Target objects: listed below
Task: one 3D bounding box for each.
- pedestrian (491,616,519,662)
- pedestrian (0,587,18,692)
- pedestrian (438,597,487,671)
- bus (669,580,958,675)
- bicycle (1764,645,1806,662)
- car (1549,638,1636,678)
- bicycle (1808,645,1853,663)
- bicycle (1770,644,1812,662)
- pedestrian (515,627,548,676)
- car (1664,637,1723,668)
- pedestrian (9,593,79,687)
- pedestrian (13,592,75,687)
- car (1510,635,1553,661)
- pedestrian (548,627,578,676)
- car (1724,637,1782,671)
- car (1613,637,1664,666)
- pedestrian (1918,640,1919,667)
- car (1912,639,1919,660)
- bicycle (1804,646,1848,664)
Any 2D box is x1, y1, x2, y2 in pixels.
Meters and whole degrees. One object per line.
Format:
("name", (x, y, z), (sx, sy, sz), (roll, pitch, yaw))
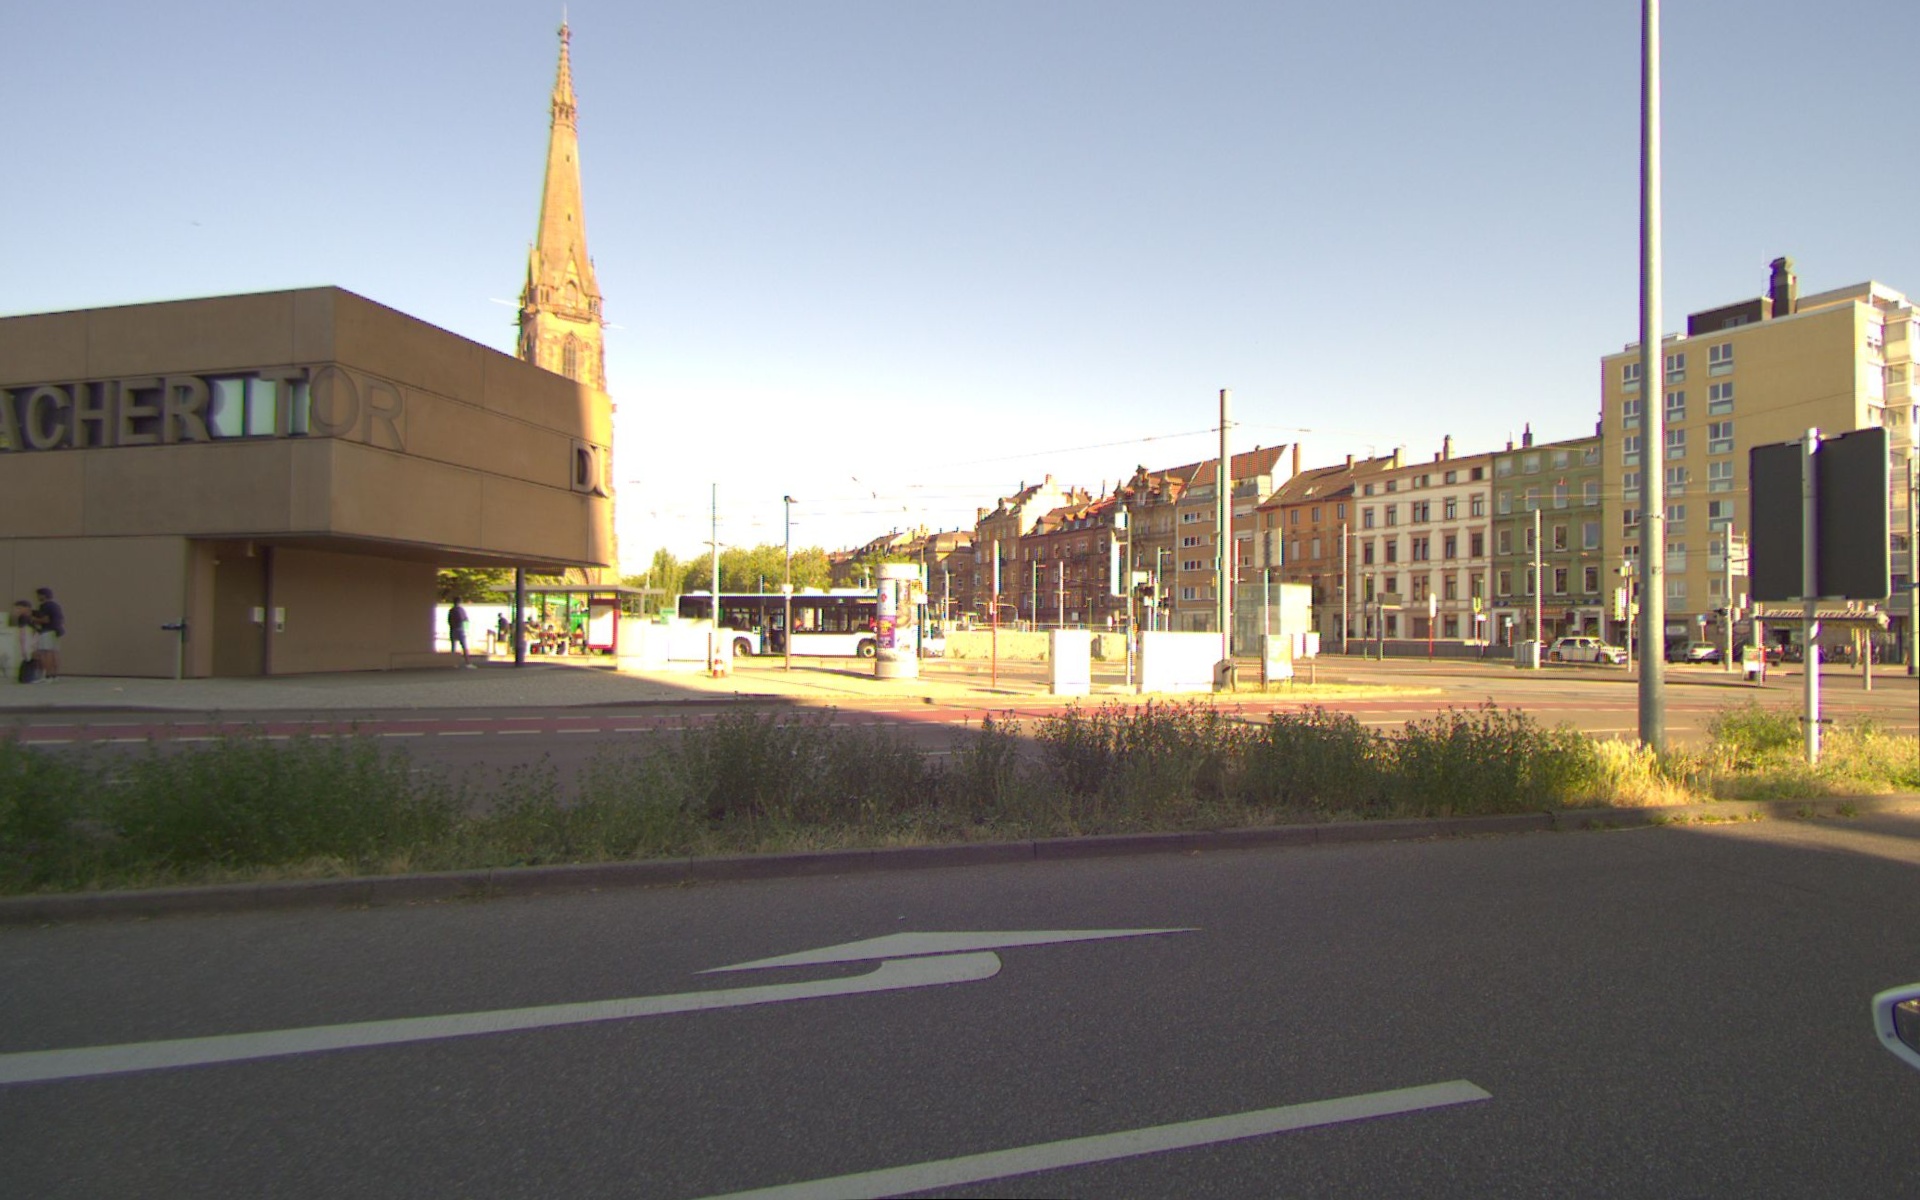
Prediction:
("pedestrian", (-19.918, 1.721, 43.960), (0.739, 2.007, 0.817), (-1, -2, 16))
("pedestrian", (-17.228, 0.702, 17.680), (0.628, 1.860, 0.717), (-1, 0, -11))
("pedestrian", (-13.795, 0.947, 27.873), (0.704, 2.007, 0.981), (-1, -2, 14))
("bus", (-6.371, 1.177, 43.764), (11.942, 3.359, 3.254), (2, -4, 15))
("bicycle", (54.411, 3.532, 66.261), (0.768, 1.104, 2.033), (2, -2, -30))
("car", (35.750, 3.243, 56.838), (1.976, 2.040, 3.717), (-1, -1, -30))
("bicycle", (56.187, 3.492, 64.848), (0.768, 1.104, 2.033), (2, -2, -30))
("bicycle", (55.156, 3.522, 66.695), (0.768, 1.104, 2.033), (2, -2, -30))
("pedestrian", (-17.930, 2.149, 42.071), (0.812, 2.007, 0.997), (-1, -2, 16))
("car", (46.500, 3.292, 63.793), (1.803, 1.771, 4.001), (-1, -1, 17))
("pedestrian", (-17.516, 0.755, 19.209), (0.651, 1.754, 0.737), (-1, 0, 13))
("pedestrian", (-16.793, 0.710, 18.429), (0.539, 1.711, 0.639), (-1, 0, 2))
("car", (41.642, 3.475, 73.255), (2.046, 1.742, 4.010), (-1, -1, 20))
("pedestrian", (-16.345, 2.118, 41.370), (0.704, 2.007, 0.981), (-1, -2, 16))
("car", (48.251, 3.230, 61.189), (1.818, 1.882, 3.997), (-1, -1, 25))
("car", (44.930, 3.358, 66.611), (1.803, 1.742, 4.000), (-1, -1, 19))
("pedestrian", (60.278, 3.321, 62.495), (0.773, 1.698, 0.773), (1, -2, -28))
("car", (67.999, 3.436, 68.665), (1.794, 1.441, 3.964), (2, -2, -33))
("bicycle", (55.491, 3.497, 64.375), (0.768, 1.104, 2.033), (2, -2, -30))
